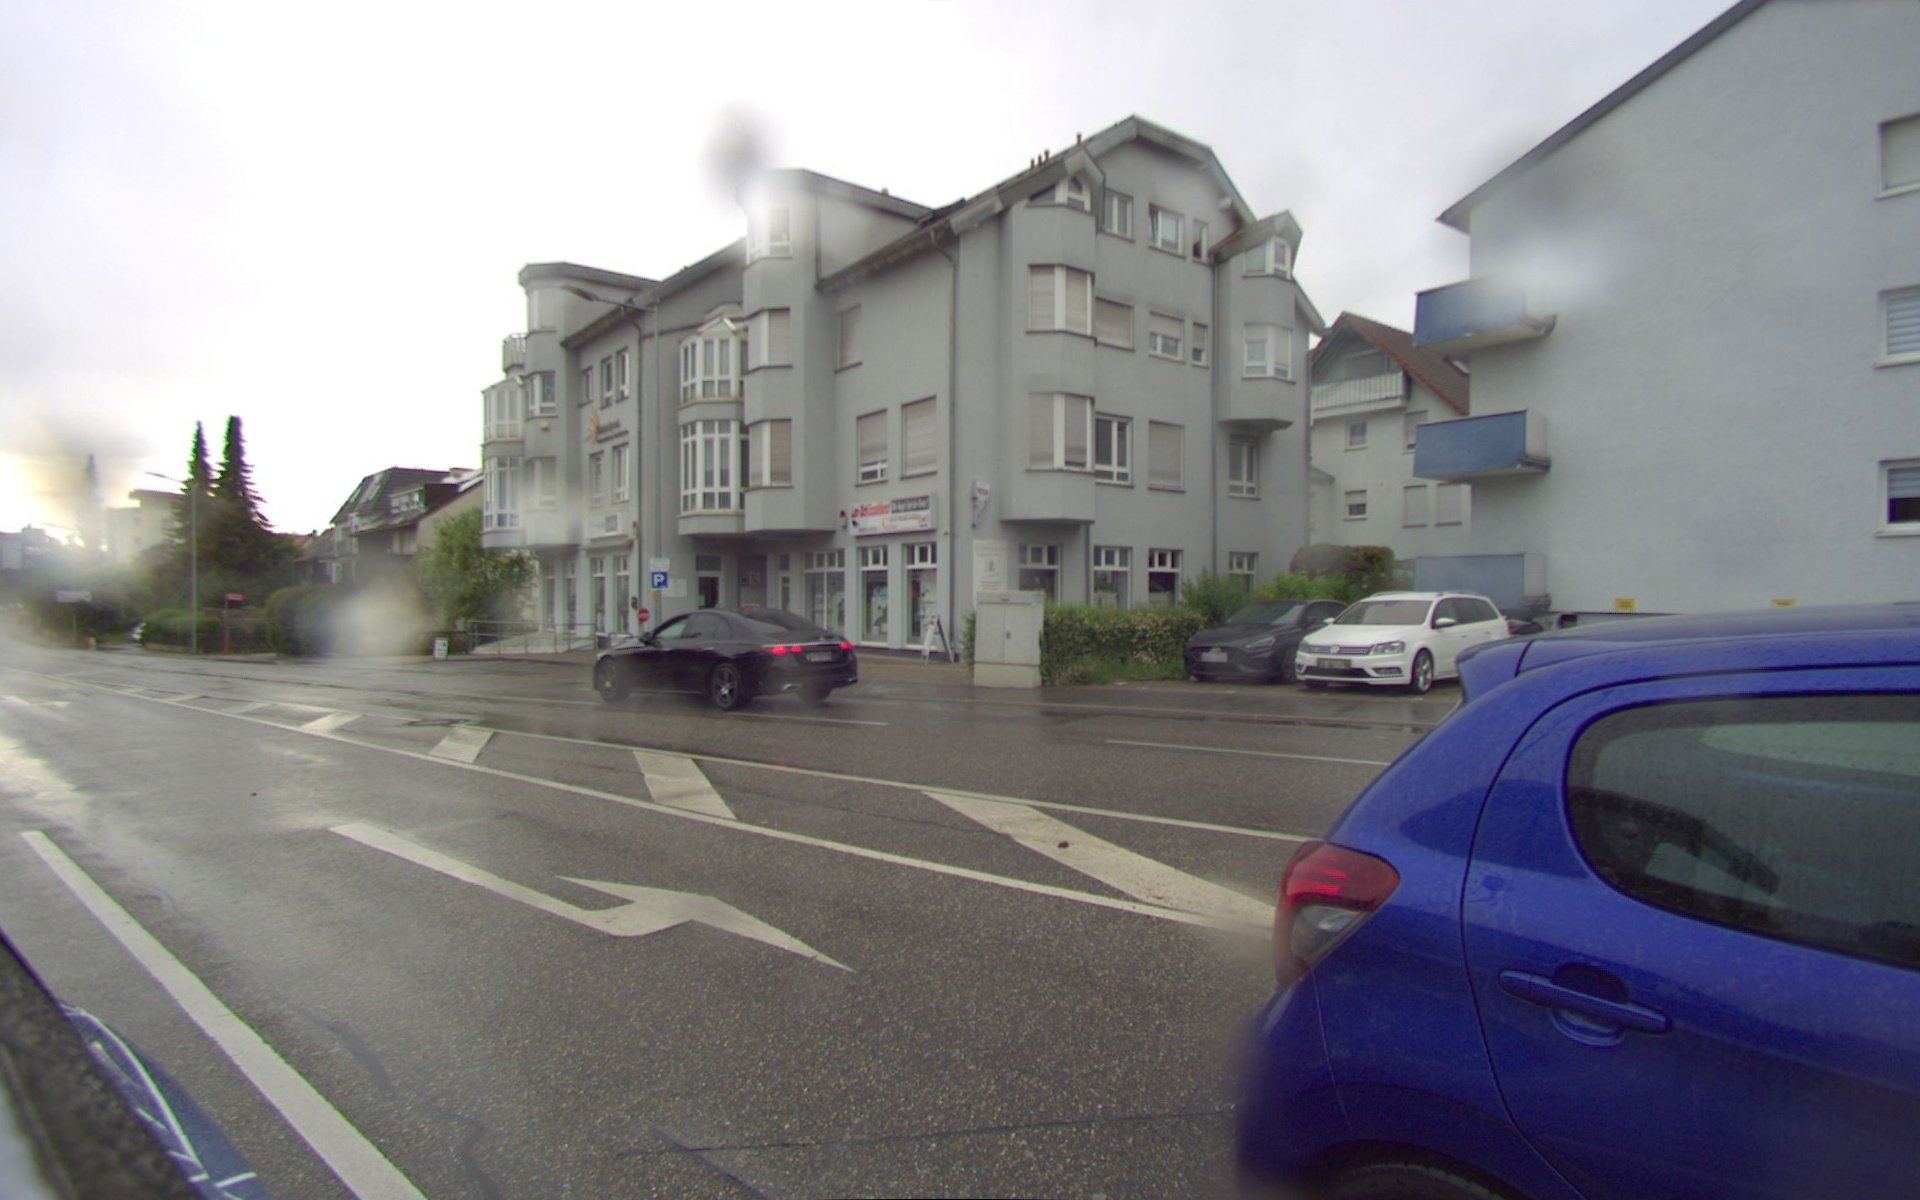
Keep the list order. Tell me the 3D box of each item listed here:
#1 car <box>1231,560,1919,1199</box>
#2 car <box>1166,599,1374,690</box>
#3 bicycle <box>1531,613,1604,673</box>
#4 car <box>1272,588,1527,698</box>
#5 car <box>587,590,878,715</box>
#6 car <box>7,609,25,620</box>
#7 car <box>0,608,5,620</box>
[{"bbox_3d":[2.231,0.636,1.202,3.362,1.423,1.489,-2,-1,41],"label":"car"},{"bbox_3d":[5.486,0.687,17.656,1.851,1.366,3.941,-1,0,45],"label":"car"},{"bbox_3d":[11.137,0.788,18.568,1.065,1.061,0.343,-2,-1,41],"label":"bicycle"},{"bbox_3d":[6.975,0.602,15.811,4.685,1.471,1.883,0,-2,-42],"label":"car"},{"bbox_3d":[-3.572,0.704,15.445,4.535,1.637,1.974,-1,0,40],"label":"car"},{"bbox_3d":[-168.170,2.616,180.361,1.968,1.832,4.008,-1,0,-38],"label":"car"},{"bbox_3d":[-164.140,2.323,172.365,1.968,2.029,4.007,-1,0,-40],"label":"car"}]
